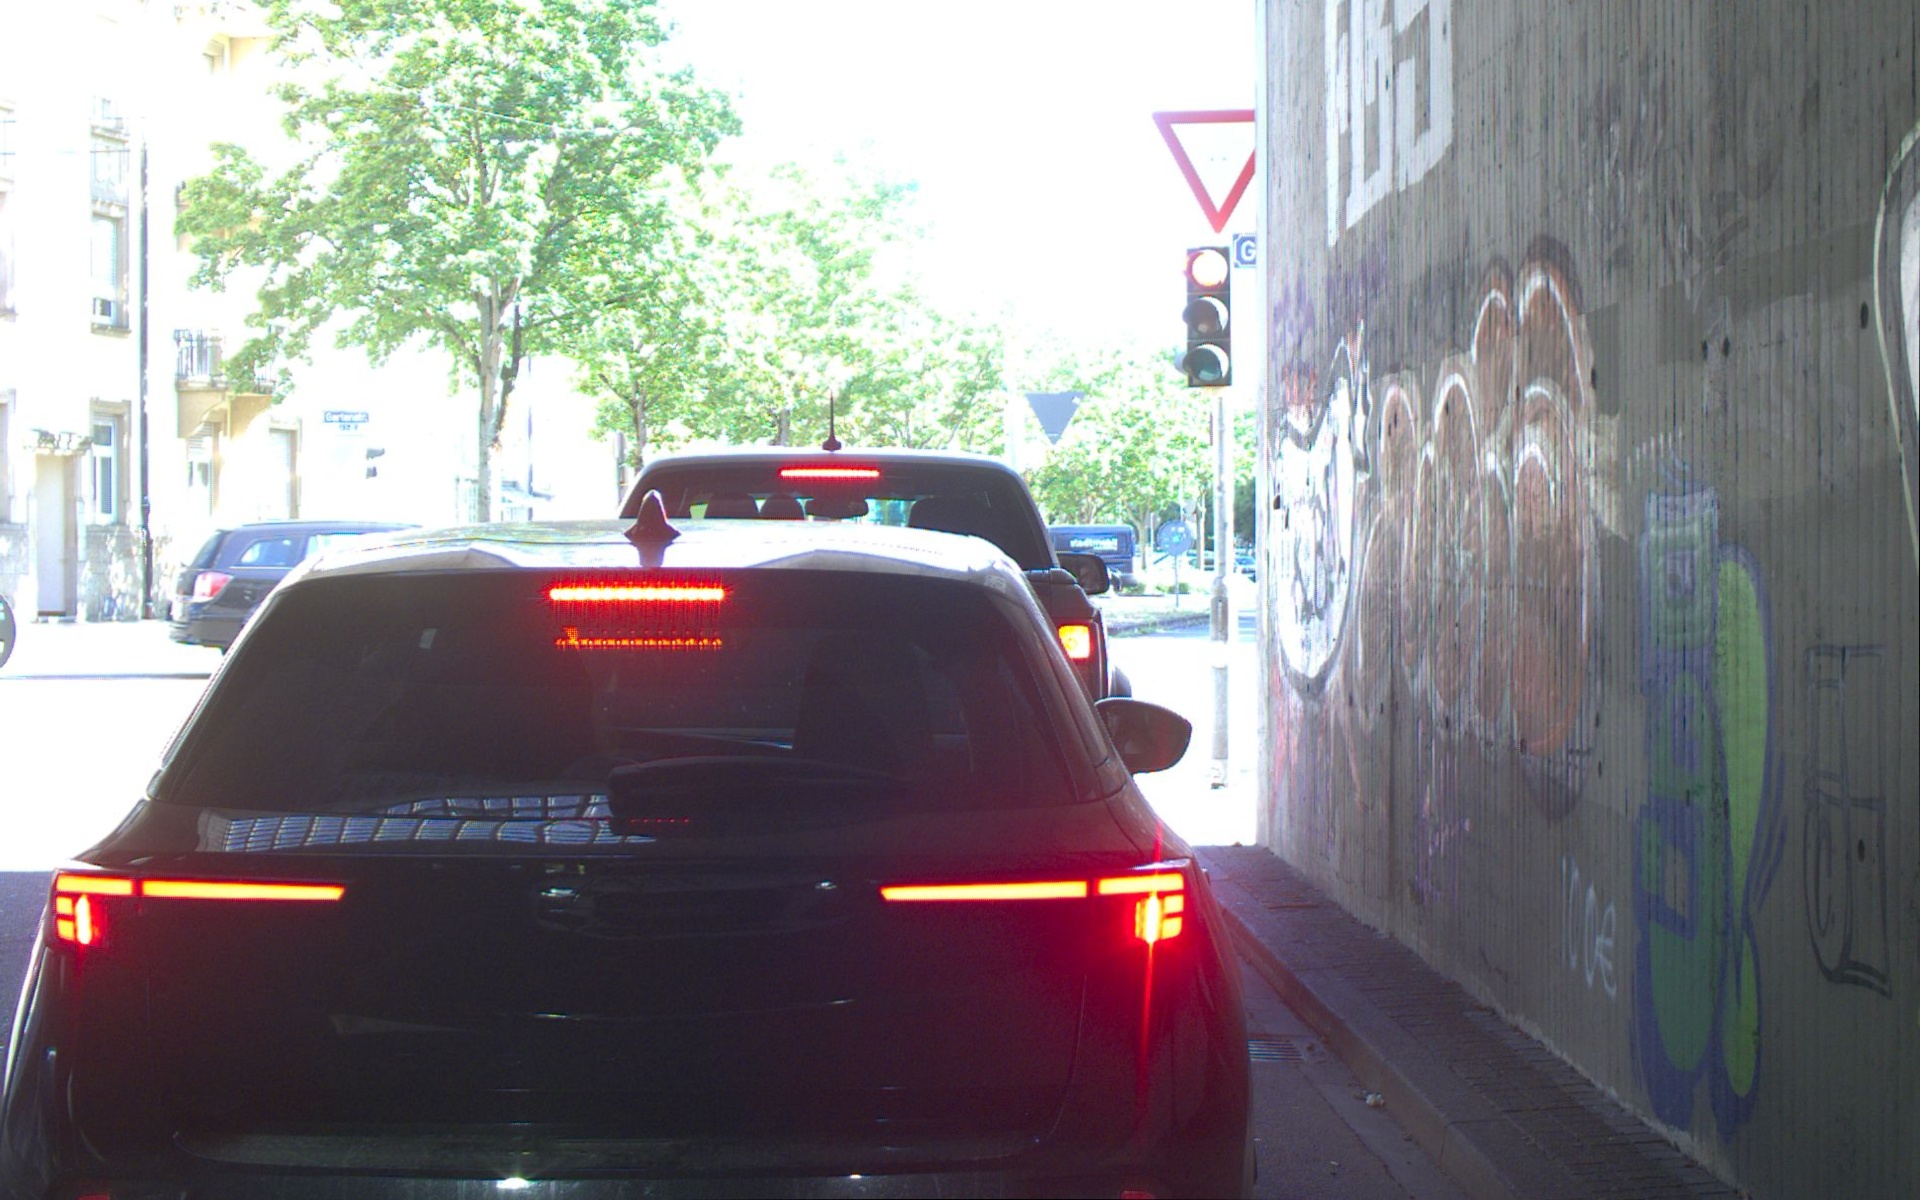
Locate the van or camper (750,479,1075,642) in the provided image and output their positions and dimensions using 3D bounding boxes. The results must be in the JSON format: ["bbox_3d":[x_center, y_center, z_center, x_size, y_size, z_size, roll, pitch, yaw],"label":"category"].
[{"bbox_3d":[-0.570,-0.506,43.735,3.878,2.007,2.000,0,1,7],"label":"van or camper"}]

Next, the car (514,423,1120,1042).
[{"bbox_3d":[-0.443,0.356,12.214,1.786,1.827,3.961,1,1,0],"label":"car"}]

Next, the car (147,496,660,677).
[{"bbox_3d":[-5.409,-0.173,33.388,4.577,1.635,2.001,-1,2,-22],"label":"car"}]

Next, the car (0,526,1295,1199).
[{"bbox_3d":[-0.482,0.627,6.270,1.753,1.493,4.000,1,1,0],"label":"car"}]
